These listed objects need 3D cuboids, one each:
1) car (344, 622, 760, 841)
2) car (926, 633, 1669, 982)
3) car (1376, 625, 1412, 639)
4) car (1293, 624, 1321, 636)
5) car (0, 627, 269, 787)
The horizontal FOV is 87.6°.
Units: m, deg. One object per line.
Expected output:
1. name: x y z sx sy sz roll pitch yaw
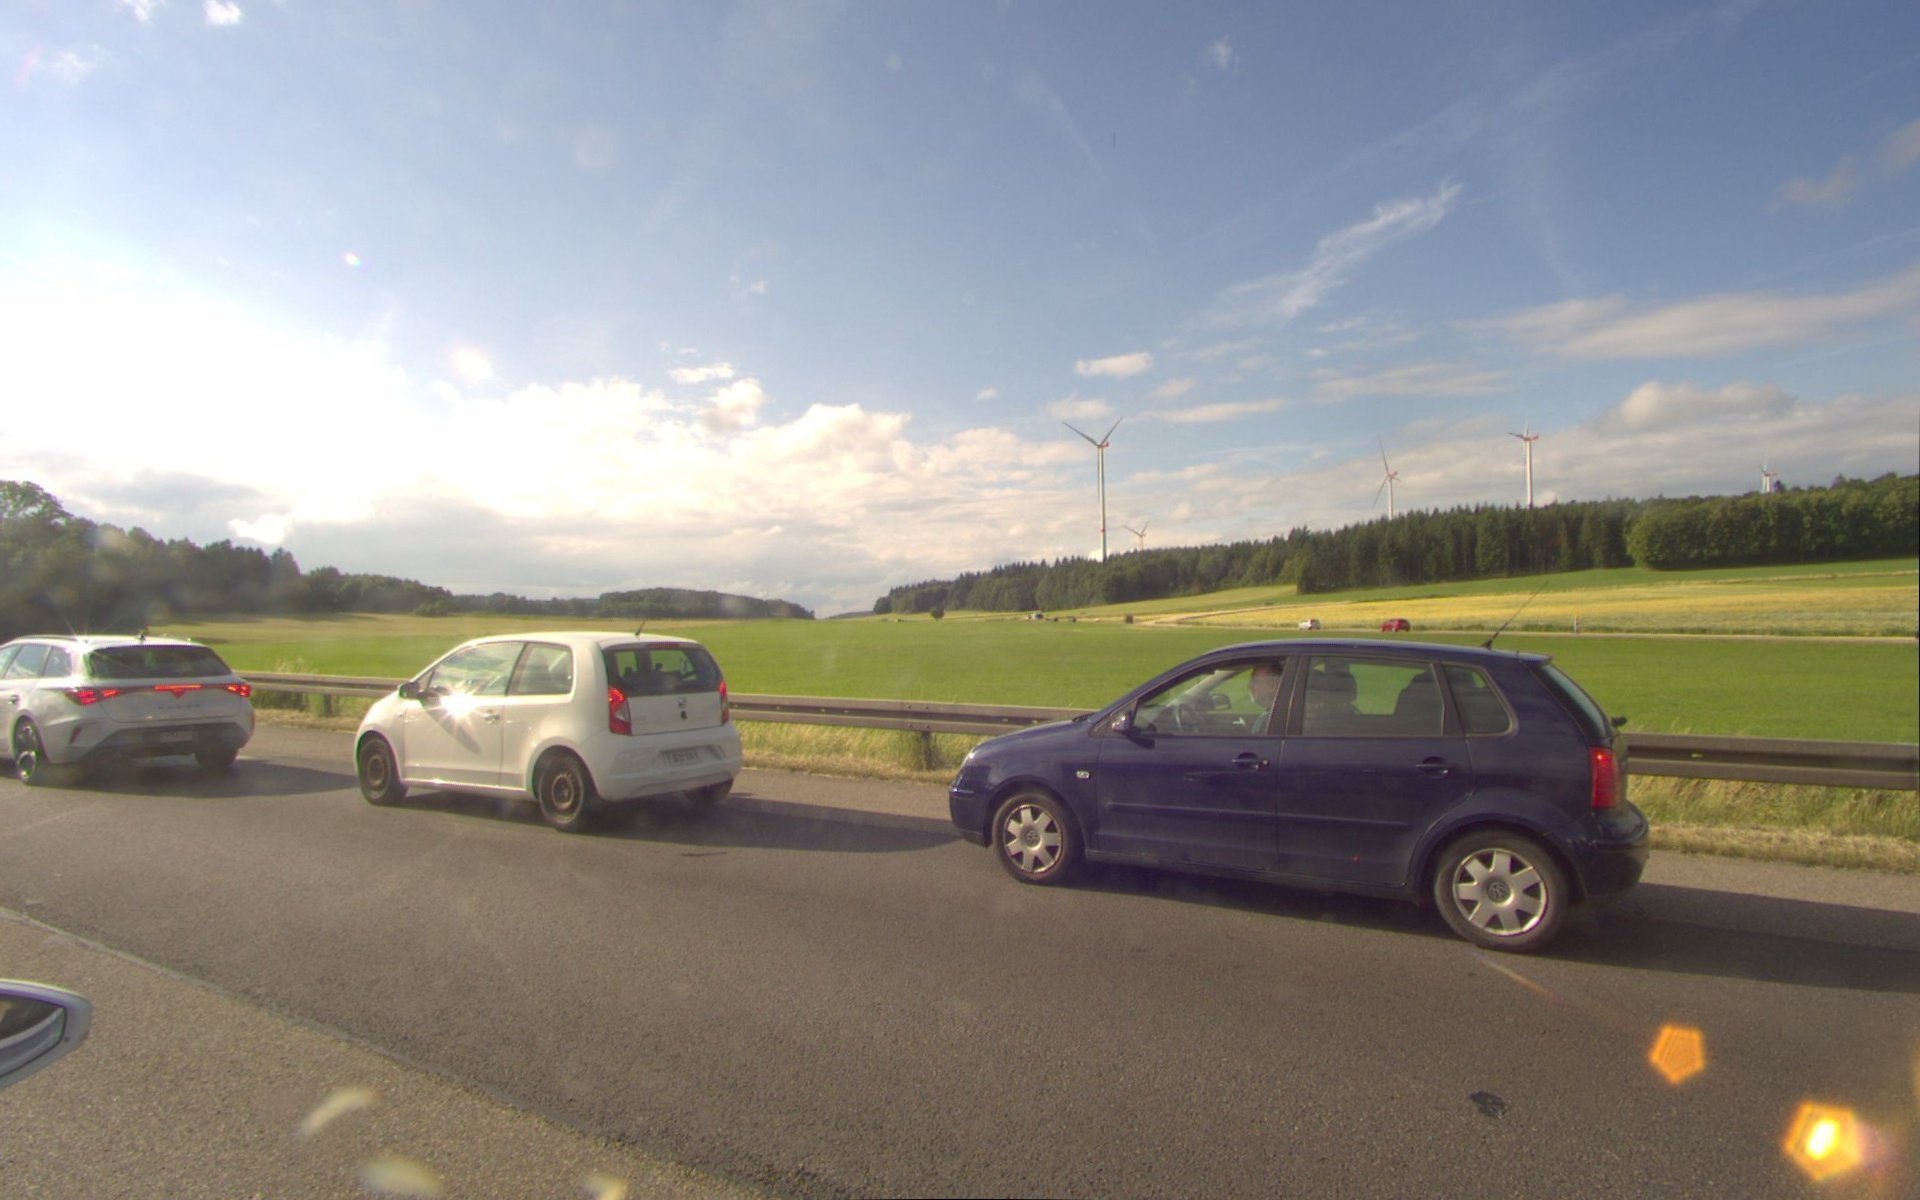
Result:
1. car: -3.503 0.961 8.531 3.326 1.514 1.547 0 -1 29
2. car: 1.816 0.937 5.917 3.719 1.464 1.708 -1 -2 31
3. car: 48.194 3.580 111.159 1.803 1.505 4.221 0 -2 -6
4. car: 45.882 3.955 132.430 1.803 1.505 4.288 0 -2 -6
5. car: -9.461 1.042 10.864 4.084 1.464 1.619 -1 -2 29
